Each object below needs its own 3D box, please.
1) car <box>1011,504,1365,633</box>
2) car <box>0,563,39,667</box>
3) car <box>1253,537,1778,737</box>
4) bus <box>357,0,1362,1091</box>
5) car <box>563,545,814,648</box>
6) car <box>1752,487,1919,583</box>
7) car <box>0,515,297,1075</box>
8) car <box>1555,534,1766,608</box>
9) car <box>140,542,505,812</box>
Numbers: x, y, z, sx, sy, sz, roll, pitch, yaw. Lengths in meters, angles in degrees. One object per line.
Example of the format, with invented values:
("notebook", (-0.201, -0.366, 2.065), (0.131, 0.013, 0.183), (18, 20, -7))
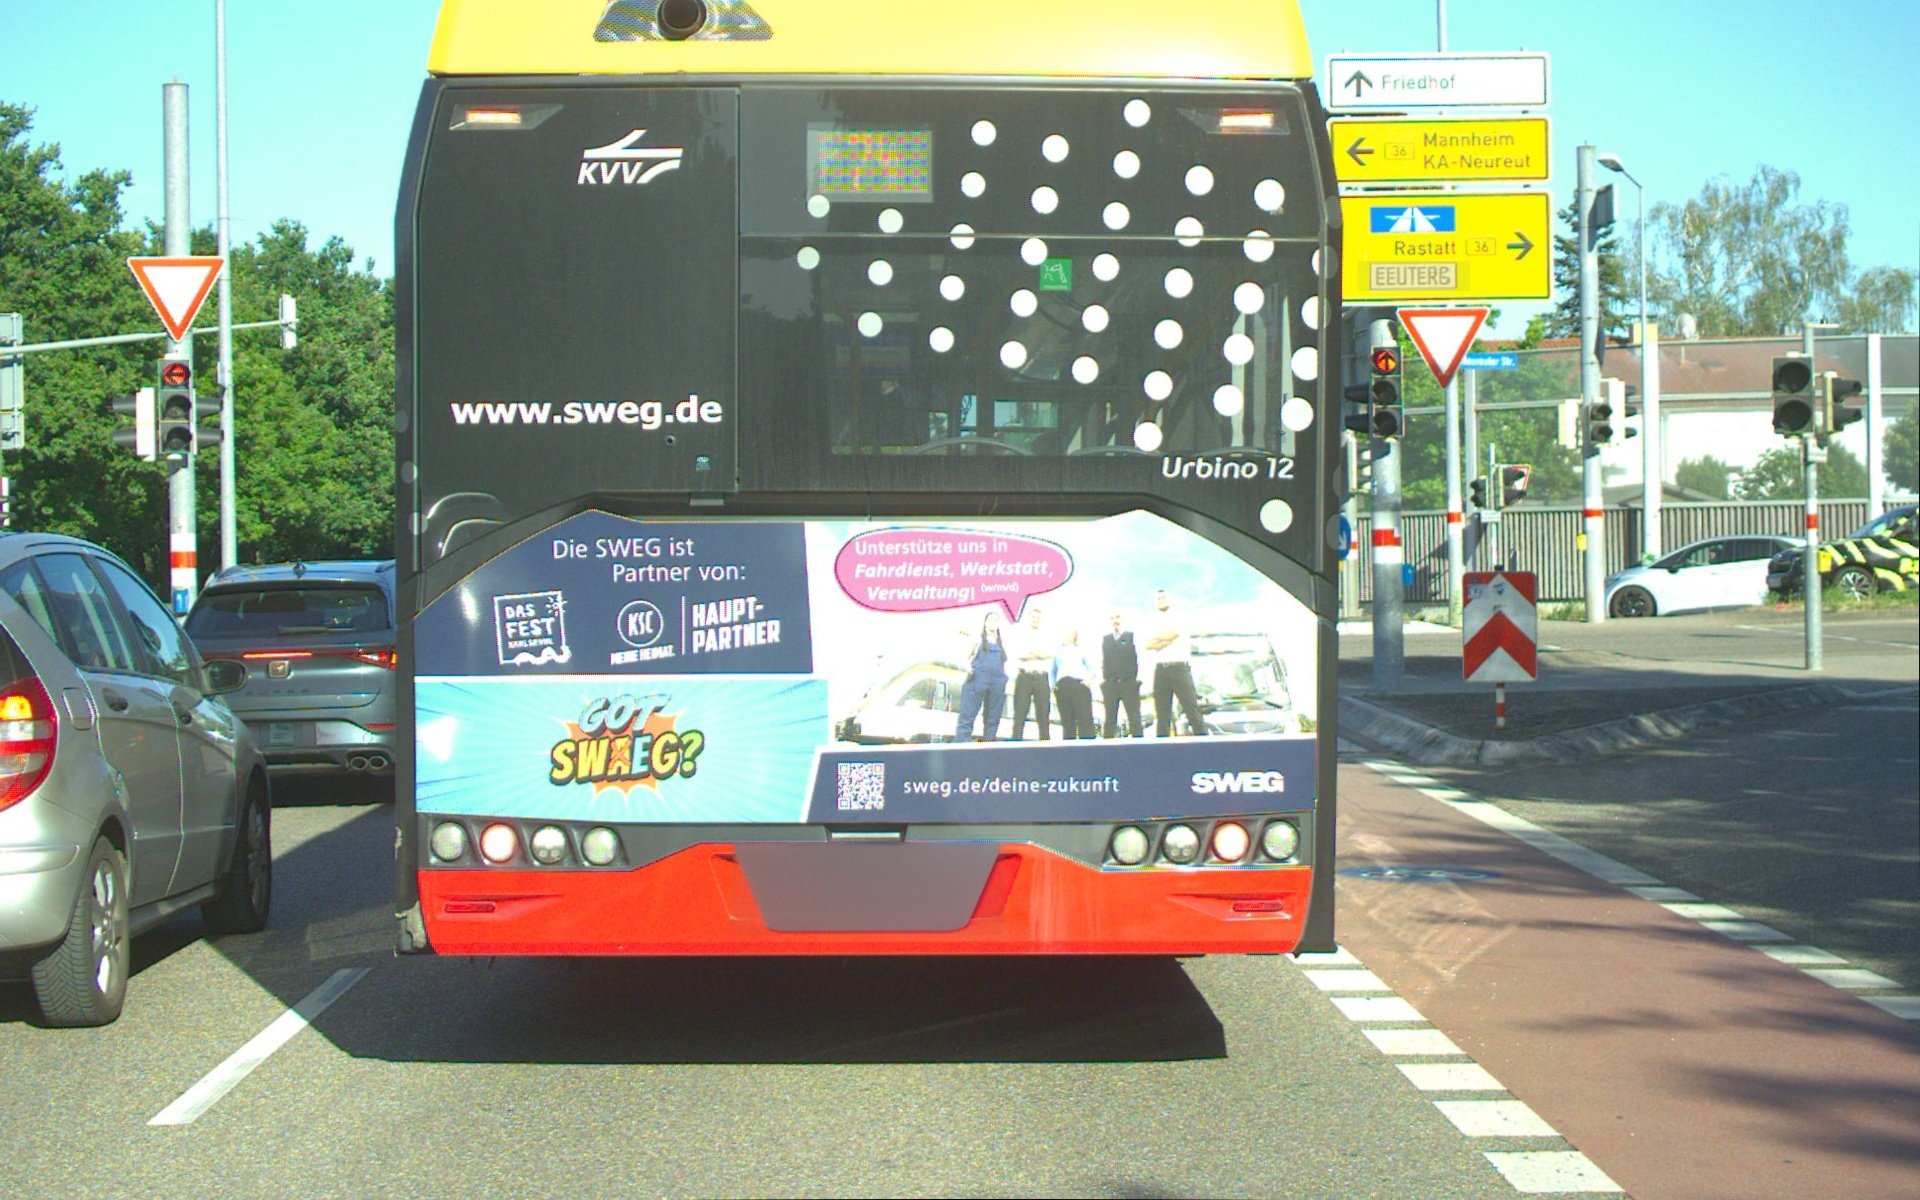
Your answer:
("car", (2.831, -0.387, 43.211), (4.220, 1.557, 1.763), (0, 0, -5))
("car", (-16.714, 0.254, 54.250), (3.986, 1.606, 1.696), (-1, 1, -6))
("car", (3.882, 0.229, 24.250), (3.523, 1.297, 1.574), (1, 2, 8))
("bus", (-0.332, -0.492, 14.927), (2.596, 3.323, 11.984), (0, 1, -1))
("car", (-4.431, -0.071, 55.969), (3.986, 1.606, 1.696), (-1, 1, -6))
("car", (13.289, -0.886, 47.792), (4.159, 1.298, 1.575), (0, 0, -4))
("car", (-3.610, 0.541, 12.205), (1.754, 1.614, 4.034), (-1, 2, -1))
("car", (12.294, -0.515, 60.350), (3.585, 1.261, 1.353), (0, 1, 13))
("car", (-3.794, 0.422, 20.996), (1.588, 1.480, 3.682), (-1, 0, -1))
